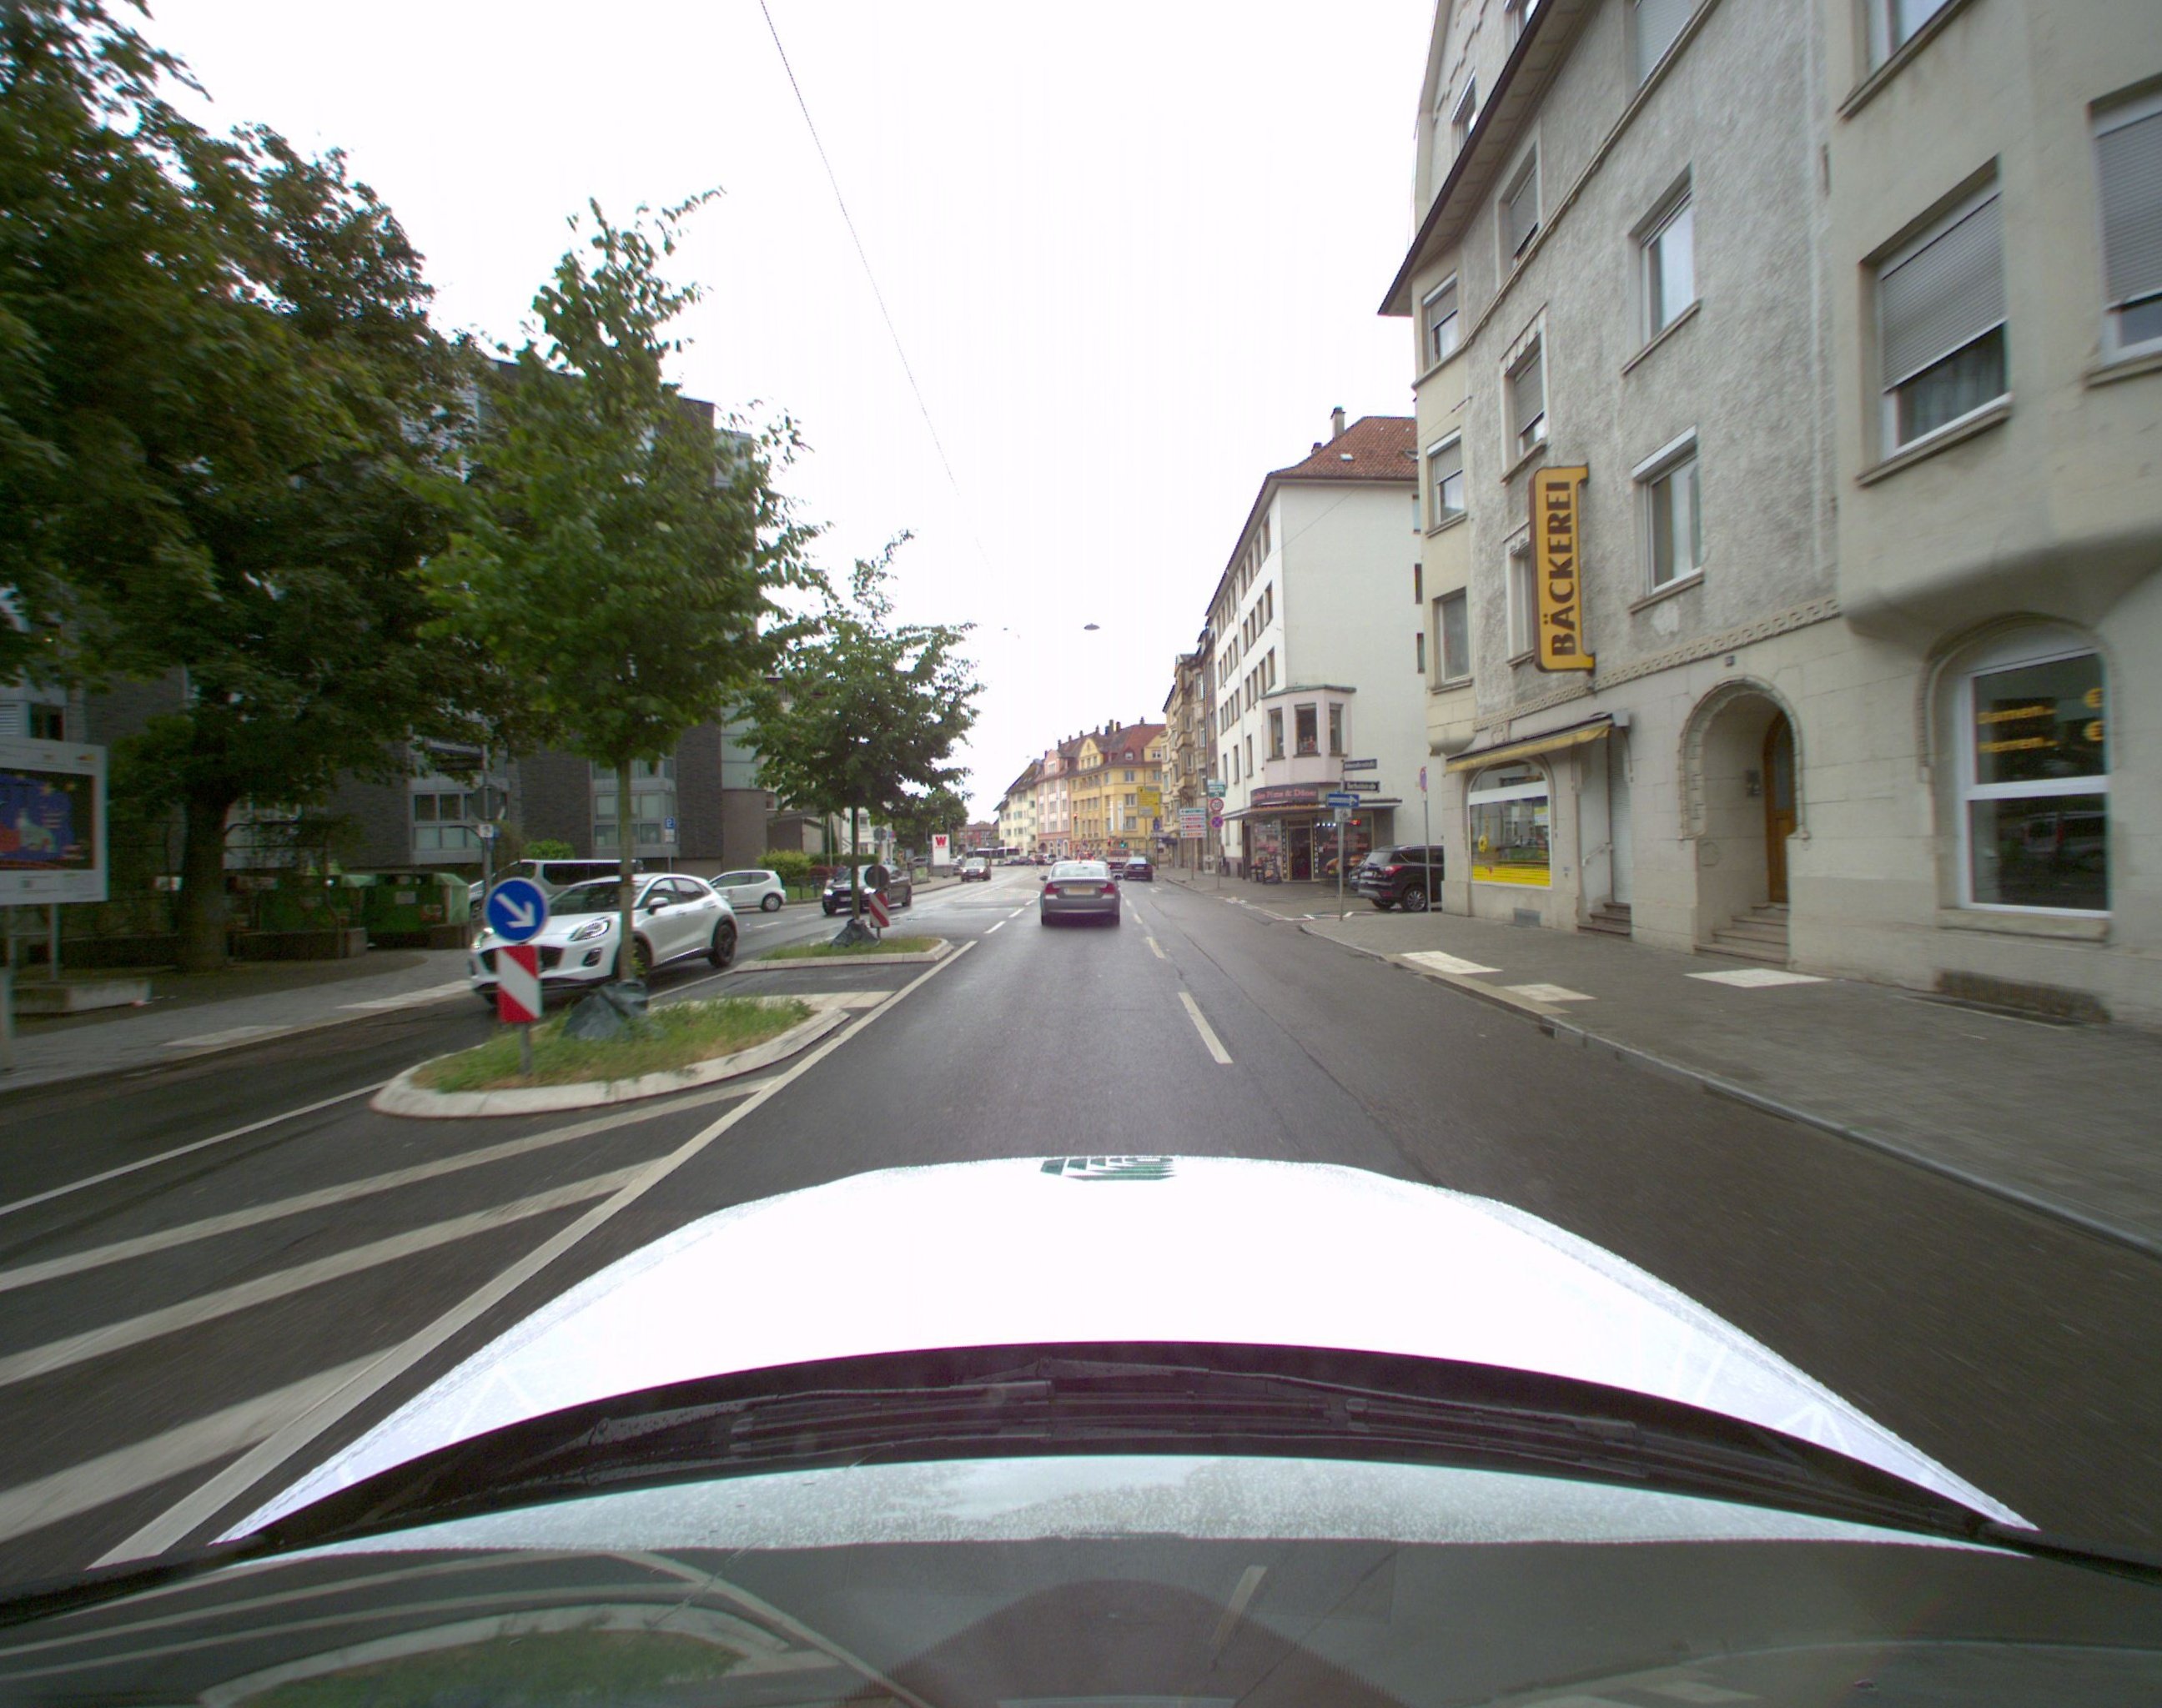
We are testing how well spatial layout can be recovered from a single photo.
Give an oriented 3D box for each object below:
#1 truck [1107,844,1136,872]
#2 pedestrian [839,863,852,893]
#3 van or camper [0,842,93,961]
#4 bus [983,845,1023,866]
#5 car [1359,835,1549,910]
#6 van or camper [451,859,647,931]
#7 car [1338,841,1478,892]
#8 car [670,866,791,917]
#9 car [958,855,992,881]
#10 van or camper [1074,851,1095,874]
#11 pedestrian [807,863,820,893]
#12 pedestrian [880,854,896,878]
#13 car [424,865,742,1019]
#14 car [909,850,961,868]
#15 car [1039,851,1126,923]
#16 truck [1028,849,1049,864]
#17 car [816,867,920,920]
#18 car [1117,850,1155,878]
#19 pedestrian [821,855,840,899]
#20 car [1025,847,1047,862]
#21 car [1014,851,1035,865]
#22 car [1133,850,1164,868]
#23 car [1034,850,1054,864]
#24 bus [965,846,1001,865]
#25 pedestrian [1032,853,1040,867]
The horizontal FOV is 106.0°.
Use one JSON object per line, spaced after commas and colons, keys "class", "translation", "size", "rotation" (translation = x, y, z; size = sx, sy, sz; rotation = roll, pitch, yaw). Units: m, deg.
{"class": "truck", "translation": [3.335, 0.320, 67.868], "size": [2.217, 2.249, 5.063], "rotation": [-1, 0, 0]}
{"class": "pedestrian", "translation": [-9.540, 0.986, 32.988], "size": [0.408, 1.198, 0.310], "rotation": [-2, 0, -6]}
{"class": "van or camper", "translation": [-22.930, 0.890, 15.554], "size": [4.630, 2.266, 2.191], "rotation": [1, 0, -29]}
{"class": "bus", "translation": [-12.330, 0.254, 128.079], "size": [2.925, 3.105, 9.060], "rotation": [-2, 0, -28]}
{"class": "car", "translation": [9.304, 0.464, 20.697], "size": [4.108, 1.772, 1.881], "rotation": [-1, 0, 14]}
{"class": "van or camper", "translation": [-16.404, 1.194, 25.499], "size": [4.981, 2.013, 1.982], "rotation": [-1, 0, -29]}
{"class": "car", "translation": [11.226, 0.425, 28.100], "size": [4.101, 1.607, 1.802], "rotation": [-1, -2, -6]}
{"class": "car", "translation": [-12.009, 1.242, 27.962], "size": [3.602, 1.569, 1.723], "rotation": [-1, 0, -32]}
{"class": "car", "translation": [-7.612, 0.976, 58.182], "size": [1.950, 1.659, 4.040], "rotation": [-5, 1, -12]}
{"class": "van or camper", "translation": [0.293, 0.829, 79.136], "size": [1.850, 2.146, 4.139], "rotation": [-1, 0, -2]}
{"class": "pedestrian", "translation": [-10.850, 0.961, 32.997], "size": [0.408, 1.198, 0.358], "rotation": [-2, 0, -6]}
{"class": "pedestrian", "translation": [-14.145, 0.882, 59.700], "size": [0.752, 1.685, 0.745], "rotation": [-2, 0, -44]}
{"class": "car", "translation": [-6.529, 1.033, 11.332], "size": [1.814, 1.569, 4.088], "rotation": [-4, 0, 0]}
{"class": "car", "translation": [-13.437, 0.445, 75.159], "size": [4.437, 1.526, 1.883], "rotation": [-1, 0, -5]}
{"class": "car", "translation": [0.033, 0.716, 19.056], "size": [1.793, 1.464, 4.369], "rotation": [-1, -1, 0]}
{"class": "truck", "translation": [-7.038, 0.444, 134.061], "size": [2.036, 2.389, 4.203], "rotation": [-1, 0, -24]}
{"class": "car", "translation": [-6.603, 1.167, 25.829], "size": [2.007, 1.425, 4.500], "rotation": [-1, 0, 1]}
{"class": "car", "translation": [3.277, 0.613, 49.213], "size": [1.795, 1.563, 3.995], "rotation": [-1, -1, -3]}
{"class": "pedestrian", "translation": [-10.168, 0.920, 33.094], "size": [0.573, 1.762, 0.580], "rotation": [-2, 0, -6]}
{"class": "car", "translation": [-6.402, 0.142, 114.362], "size": [2.000, 2.013, 3.973], "rotation": [-2, 0, -20]}
{"class": "car", "translation": [-8.411, 0.608, 120.184], "size": [2.001, 2.013, 3.972], "rotation": [-2, 0, -20]}
{"class": "car", "translation": [7.687, 0.548, 92.709], "size": [1.974, 2.013, 4.025], "rotation": [-1, 0, 30]}
{"class": "car", "translation": [-5.908, 0.425, 128.181], "size": [1.770, 2.180, 3.968], "rotation": [1, -1, -24]}
{"class": "bus", "translation": [-16.456, 0.281, 136.097], "size": [2.925, 3.105, 8.793], "rotation": [-2, 0, -27]}
{"class": "pedestrian", "translation": [-5.047, 0.695, 90.608], "size": [0.763, 1.529, 0.505], "rotation": [1, -1, -20]}
